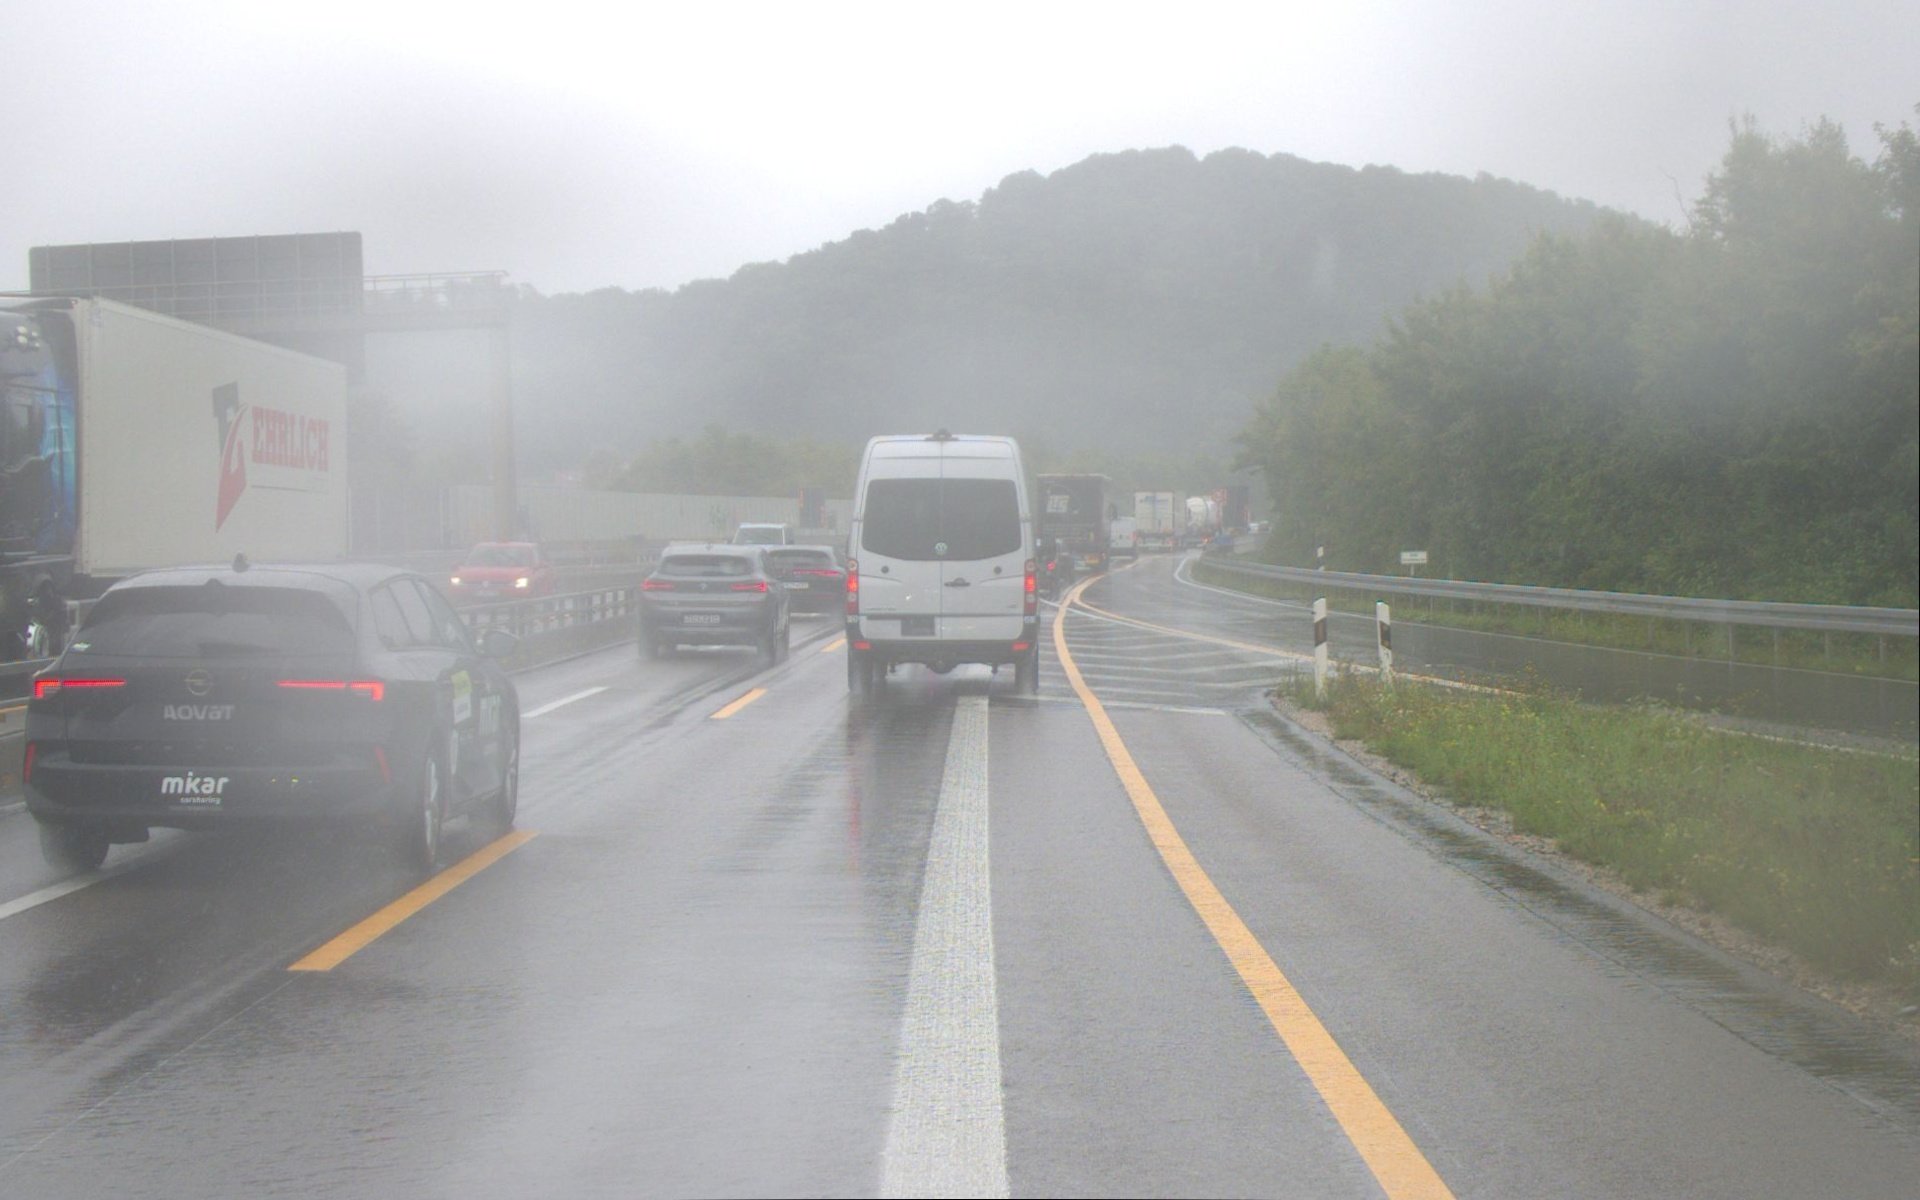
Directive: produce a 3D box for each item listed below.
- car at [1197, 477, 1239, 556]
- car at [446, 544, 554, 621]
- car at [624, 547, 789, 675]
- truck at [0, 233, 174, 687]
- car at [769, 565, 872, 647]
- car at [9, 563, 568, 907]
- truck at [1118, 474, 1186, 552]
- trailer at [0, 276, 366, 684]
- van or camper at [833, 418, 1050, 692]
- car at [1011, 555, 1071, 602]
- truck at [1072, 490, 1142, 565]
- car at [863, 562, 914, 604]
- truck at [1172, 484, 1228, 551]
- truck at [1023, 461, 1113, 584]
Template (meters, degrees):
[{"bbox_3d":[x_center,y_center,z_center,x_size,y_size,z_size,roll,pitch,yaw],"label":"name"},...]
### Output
[{"bbox_3d":[13.995,-4.493,186.502,2.058,4.177,6.745,0,1,3],"label":"car"},{"bbox_3d":[-9.426,-0.374,70.710,1.608,1.499,4.217,1,0,0],"label":"car"},{"bbox_3d":[-3.383,0.115,46.492,1.867,1.653,3.988,0,1,1],"label":"car"},{"bbox_3d":[-10.261,-1.313,34.979,2.889,4.217,6.326,0,0,2],"label":"truck"},{"bbox_3d":[-2.644,0.091,65.993,1.852,1.495,4.000,0,1,-1],"label":"car"},{"bbox_3d":[-3.099,0.546,16.870,1.938,1.422,4.760,1,1,-2],"label":"car"},{"bbox_3d":[12.393,-5.541,221.260,3.929,4.768,9.905,1,0,5],"label":"truck"},{"bbox_3d":[-10.069,-1.290,42.527,2.893,4.271,12.894,0,0,1],"label":"trailer"},{"bbox_3d":[-0.180,-0.475,36.395,2.139,2.712,4.648,0,1,0],"label":"van or camper"},{"bbox_3d":[2.192,-0.584,93.532,1.384,1.252,3.123,0,1,-4],"label":"car"},{"bbox_3d":[7.735,-3.779,182.198,3.320,3.749,9.907,1,0,1],"label":"truck"},{"bbox_3d":[-1.851,-0.463,89.941,1.262,1.074,3.254,0,1,0],"label":"car"},{"bbox_3d":[18.186,-6.161,259.655,3.929,4.768,9.905,1,0,5],"label":"truck"},{"bbox_3d":[4.361,-3.093,140.830,3.320,4.768,9.907,1,0,1],"label":"truck"}]
